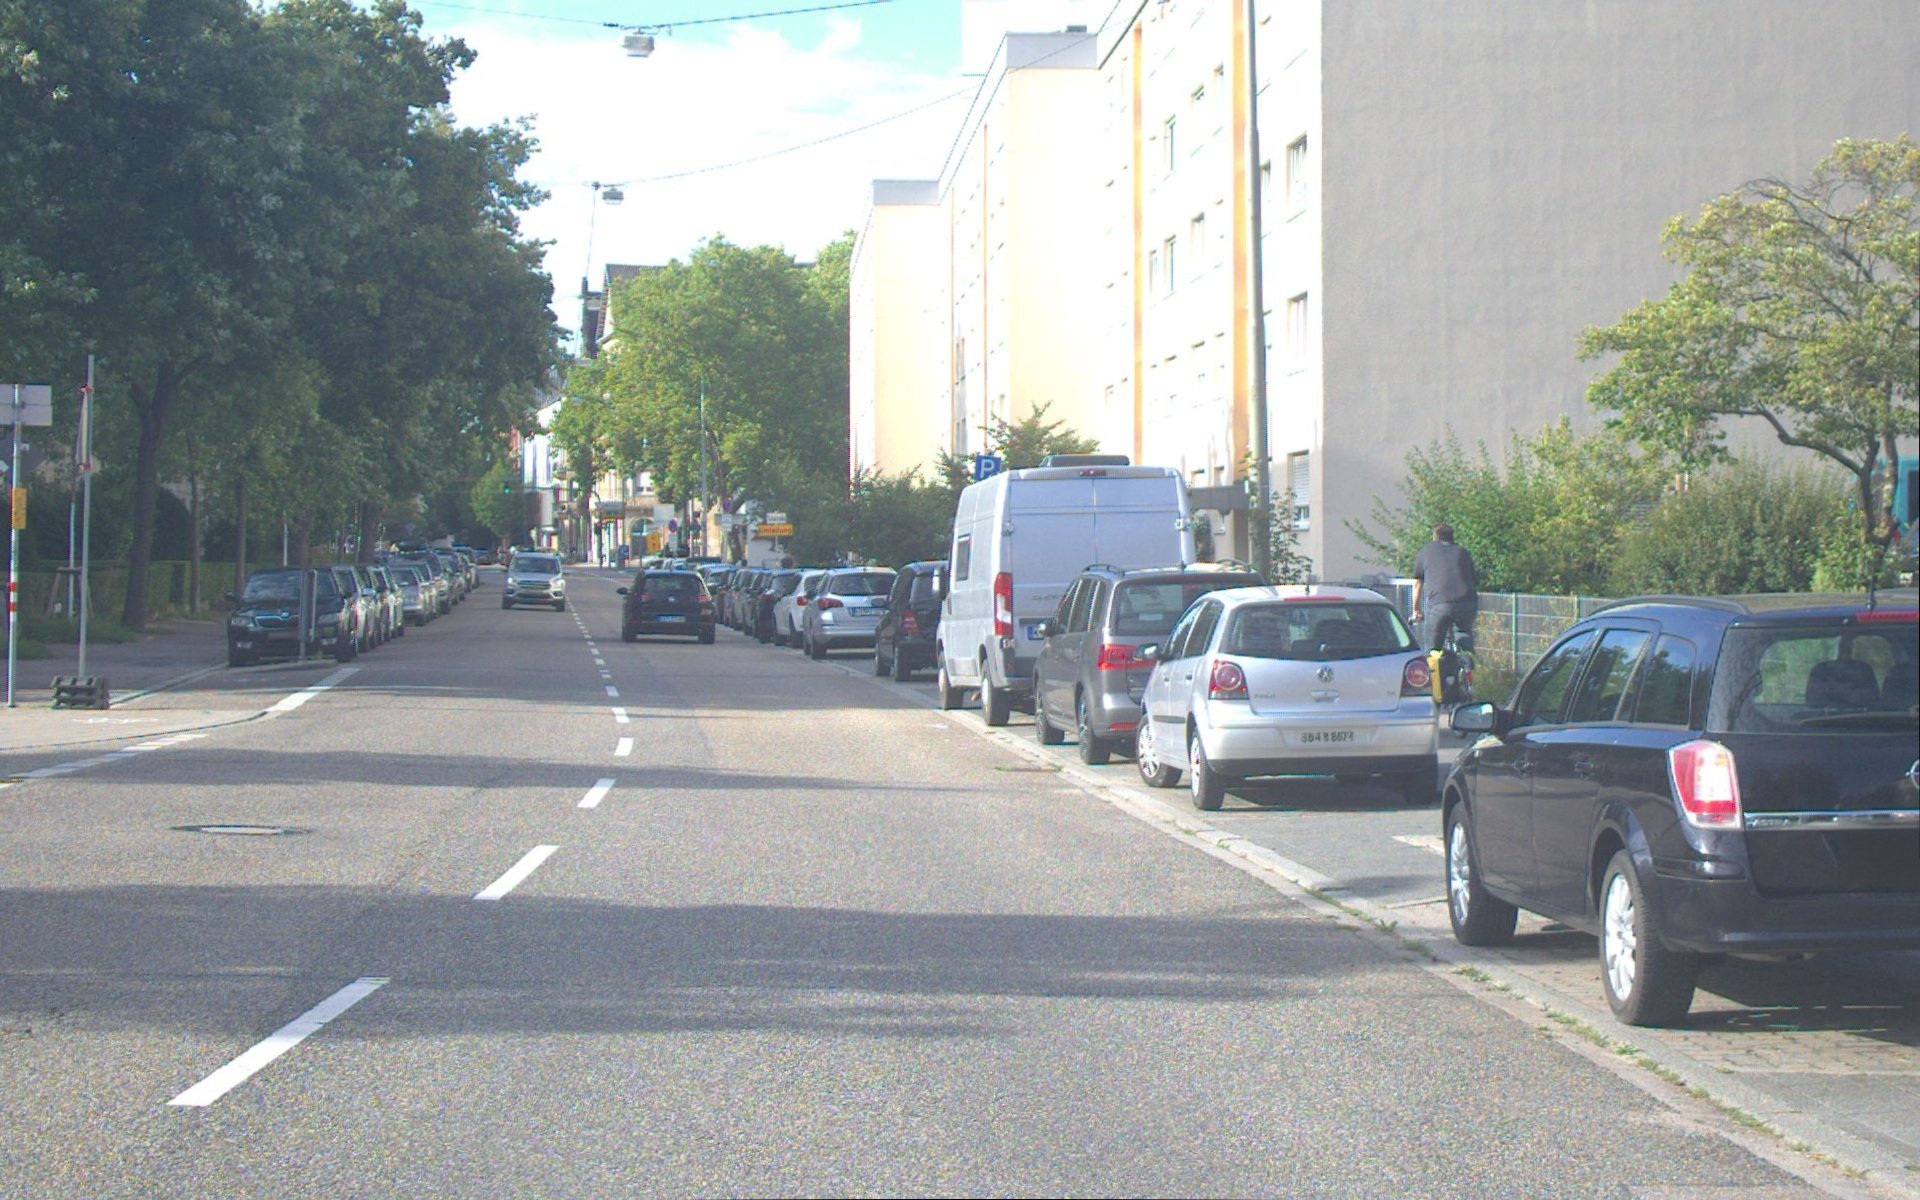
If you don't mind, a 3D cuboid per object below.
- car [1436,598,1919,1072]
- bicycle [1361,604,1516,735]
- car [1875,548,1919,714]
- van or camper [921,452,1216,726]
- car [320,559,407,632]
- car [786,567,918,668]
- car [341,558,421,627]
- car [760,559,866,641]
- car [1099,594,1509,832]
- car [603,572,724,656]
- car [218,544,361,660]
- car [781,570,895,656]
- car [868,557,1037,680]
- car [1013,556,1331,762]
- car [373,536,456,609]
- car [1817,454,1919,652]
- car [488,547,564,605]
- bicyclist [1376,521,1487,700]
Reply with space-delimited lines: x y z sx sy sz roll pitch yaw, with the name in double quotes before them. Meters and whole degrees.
"car" 3.047 0.747 13.086 1.717 1.491 4.268 0 0 -2
"bicycle" 4.110 0.575 29.748 0.740 1.031 2.762 -2 0 -4
"car" 11.988 0.293 36.541 3.987 1.733 2.000 -1 1 0
"van or camper" 1.012 -0.146 35.547 2.209 2.598 5.373 -1 1 -7
"car" -11.730 -0.110 67.640 1.637 1.385 3.435 -1 1 -10
"car" -1.821 0.265 56.824 1.993 1.568 4.001 -1 1 -4
"car" -13.737 -0.199 81.543 1.806 1.556 3.435 -1 1 -10
"car" -2.993 -0.027 69.376 1.993 1.568 4.001 -1 1 -4
"car" 2.304 0.715 24.418 2.015 1.470 4.803 -1 0 -5
"car" -5.859 0.254 67.576 1.993 1.565 4.001 1 1 -10
"car" -9.993 0.000 51.457 1.993 1.634 4.001 -1 1 -10
"car" -2.332 0.223 64.784 1.993 1.525 4.001 -1 1 -4
"car" -0.147 0.214 46.535 1.993 1.568 4.001 -1 1 -4
"car" 1.732 0.439 29.644 1.993 1.610 4.409 -1 1 -6
"car" -15.495 -0.800 97.831 1.993 2.007 4.001 -1 1 -4
"car" 12.027 -0.551 38.966 4.119 2.178 2.000 -1 1 0
"car" -12.887 -0.734 101.850 2.055 1.658 3.927 -1 1 -10
"bicyclist" 4.082 0.088 29.841 0.737 1.508 0.875 -2 0 -4
